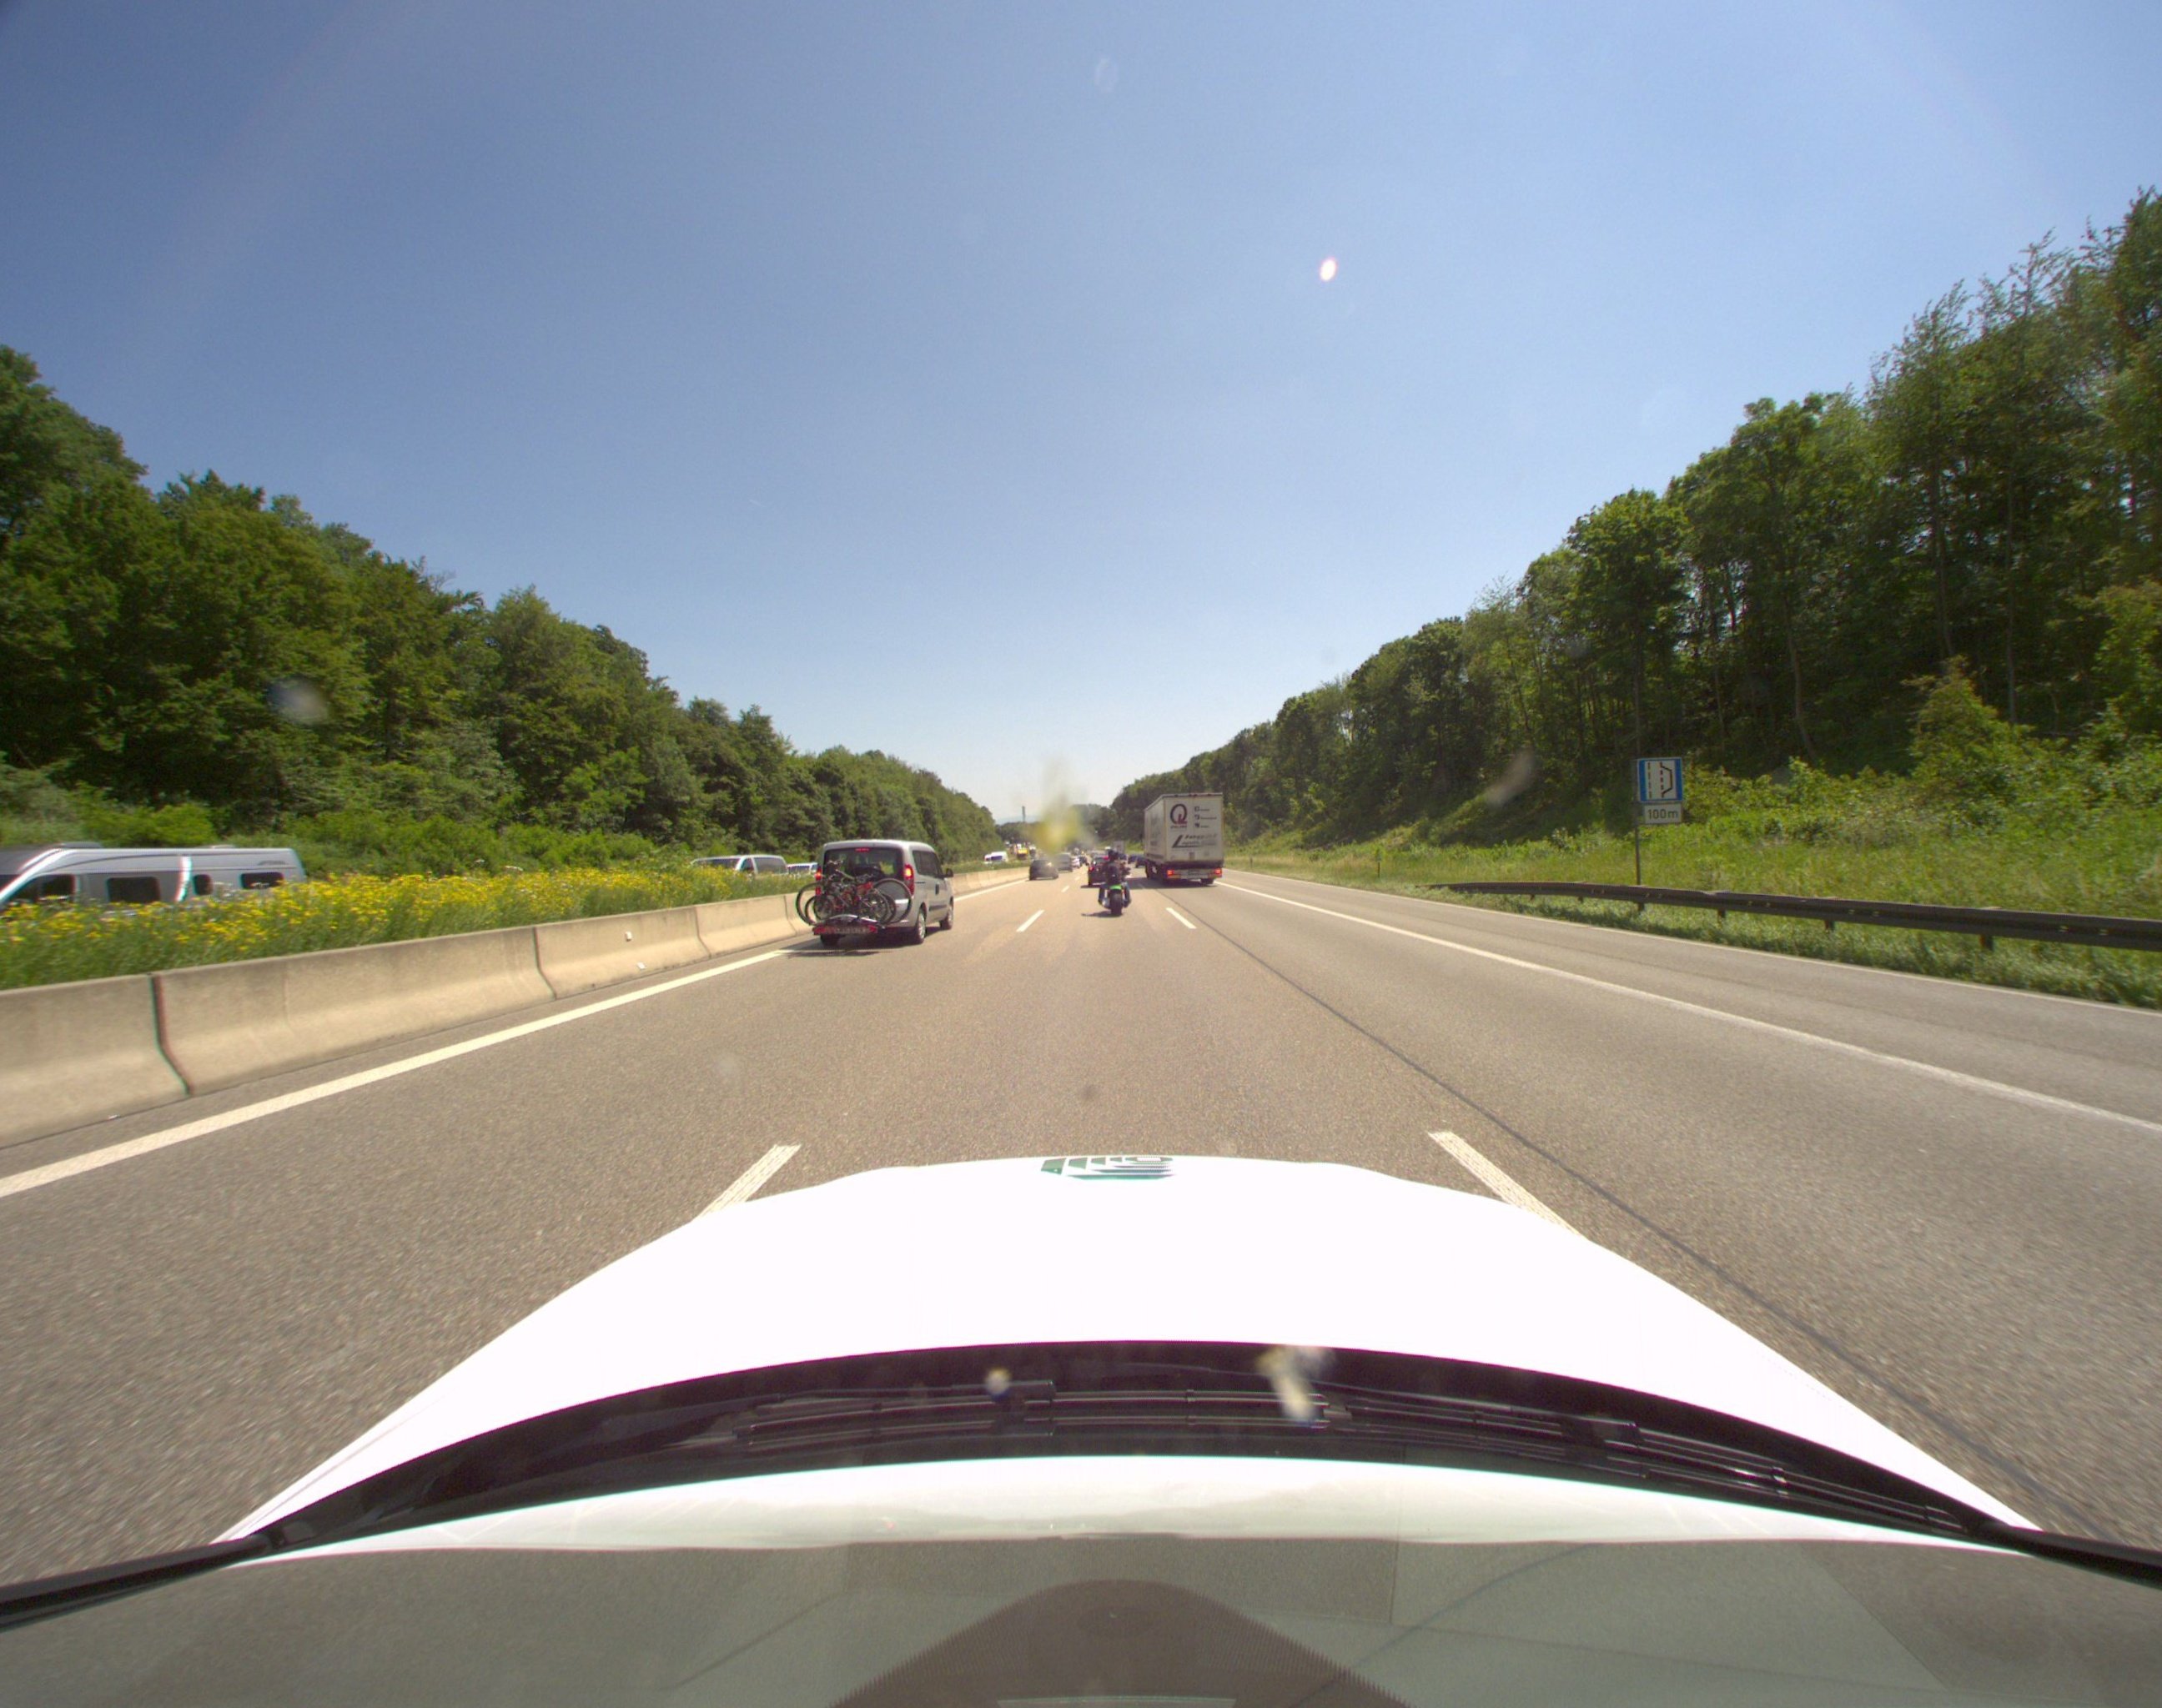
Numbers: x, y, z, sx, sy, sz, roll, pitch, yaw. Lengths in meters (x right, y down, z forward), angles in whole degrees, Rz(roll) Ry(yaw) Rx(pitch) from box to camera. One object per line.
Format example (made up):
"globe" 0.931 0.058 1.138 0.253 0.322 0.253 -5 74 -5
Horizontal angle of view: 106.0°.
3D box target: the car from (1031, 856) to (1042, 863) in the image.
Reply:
"car" -9.833 1.223 181.068 1.904 1.689 4.835 0 0 3

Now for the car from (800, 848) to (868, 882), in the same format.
"car" -12.932 0.573 43.037 1.904 1.689 4.835 0 0 3

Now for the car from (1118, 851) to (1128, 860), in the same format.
"car" 7.934 0.327 153.289 1.824 1.558 4.121 -1 1 1

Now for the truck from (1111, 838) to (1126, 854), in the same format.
"truck" 8.050 -1.837 175.562 3.056 3.346 9.656 0 1 1

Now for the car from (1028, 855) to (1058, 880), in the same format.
"car" -2.536 0.883 55.232 1.751 1.543 4.396 -1 1 1

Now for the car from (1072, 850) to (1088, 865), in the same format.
"car" -0.065 0.406 100.793 1.824 1.810 4.121 -1 1 1

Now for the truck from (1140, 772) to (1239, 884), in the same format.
"truck" 5.221 -1.269 43.298 3.371 4.717 17.716 0 1 1

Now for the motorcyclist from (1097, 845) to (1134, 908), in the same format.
"motorcyclist" 0.856 0.539 20.287 0.852 1.515 0.914 -1 0 2

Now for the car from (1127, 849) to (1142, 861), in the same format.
"car" 7.332 0.103 112.333 1.824 1.558 4.121 -1 1 1

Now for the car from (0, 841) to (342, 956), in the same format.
"car" -17.750 0.717 15.547 2.036 1.807 5.510 0 0 3

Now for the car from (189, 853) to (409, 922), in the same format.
"car" -22.921 0.894 24.194 1.884 1.807 4.657 -1 0 3

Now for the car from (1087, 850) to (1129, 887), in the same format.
"car" 1.265 0.636 39.026 1.839 1.557 4.441 -1 1 1

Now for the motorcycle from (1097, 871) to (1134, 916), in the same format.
"motorcycle" 0.862 0.956 20.432 0.859 0.982 2.132 -1 1 2

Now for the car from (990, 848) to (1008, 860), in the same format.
"car" -11.550 -0.023 115.266 1.904 1.689 4.835 0 0 3

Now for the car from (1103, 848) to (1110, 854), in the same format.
"car" 7.278 -0.950 229.534 1.824 1.558 4.121 -1 1 1

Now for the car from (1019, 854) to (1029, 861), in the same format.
"car" -14.050 0.843 199.591 1.904 1.689 4.835 0 0 3

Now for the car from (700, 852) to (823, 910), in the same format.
"car" -10.201 0.809 26.465 1.842 1.689 4.899 0 0 3

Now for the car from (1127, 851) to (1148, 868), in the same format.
"car" 5.677 0.497 82.050 1.824 1.558 4.121 -1 1 1

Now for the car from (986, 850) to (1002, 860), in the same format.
"car" -14.493 0.208 135.459 1.904 1.689 4.835 0 0 3

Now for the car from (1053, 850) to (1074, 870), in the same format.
"car" -1.677 0.540 79.642 1.824 1.810 4.121 -1 1 1

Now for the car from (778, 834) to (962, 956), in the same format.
"car" -3.630 0.614 15.232 1.891 1.848 5.484 -1 0 1

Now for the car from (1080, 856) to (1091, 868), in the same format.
"car" 0.801 1.358 140.582 1.824 1.810 4.121 -1 1 1
